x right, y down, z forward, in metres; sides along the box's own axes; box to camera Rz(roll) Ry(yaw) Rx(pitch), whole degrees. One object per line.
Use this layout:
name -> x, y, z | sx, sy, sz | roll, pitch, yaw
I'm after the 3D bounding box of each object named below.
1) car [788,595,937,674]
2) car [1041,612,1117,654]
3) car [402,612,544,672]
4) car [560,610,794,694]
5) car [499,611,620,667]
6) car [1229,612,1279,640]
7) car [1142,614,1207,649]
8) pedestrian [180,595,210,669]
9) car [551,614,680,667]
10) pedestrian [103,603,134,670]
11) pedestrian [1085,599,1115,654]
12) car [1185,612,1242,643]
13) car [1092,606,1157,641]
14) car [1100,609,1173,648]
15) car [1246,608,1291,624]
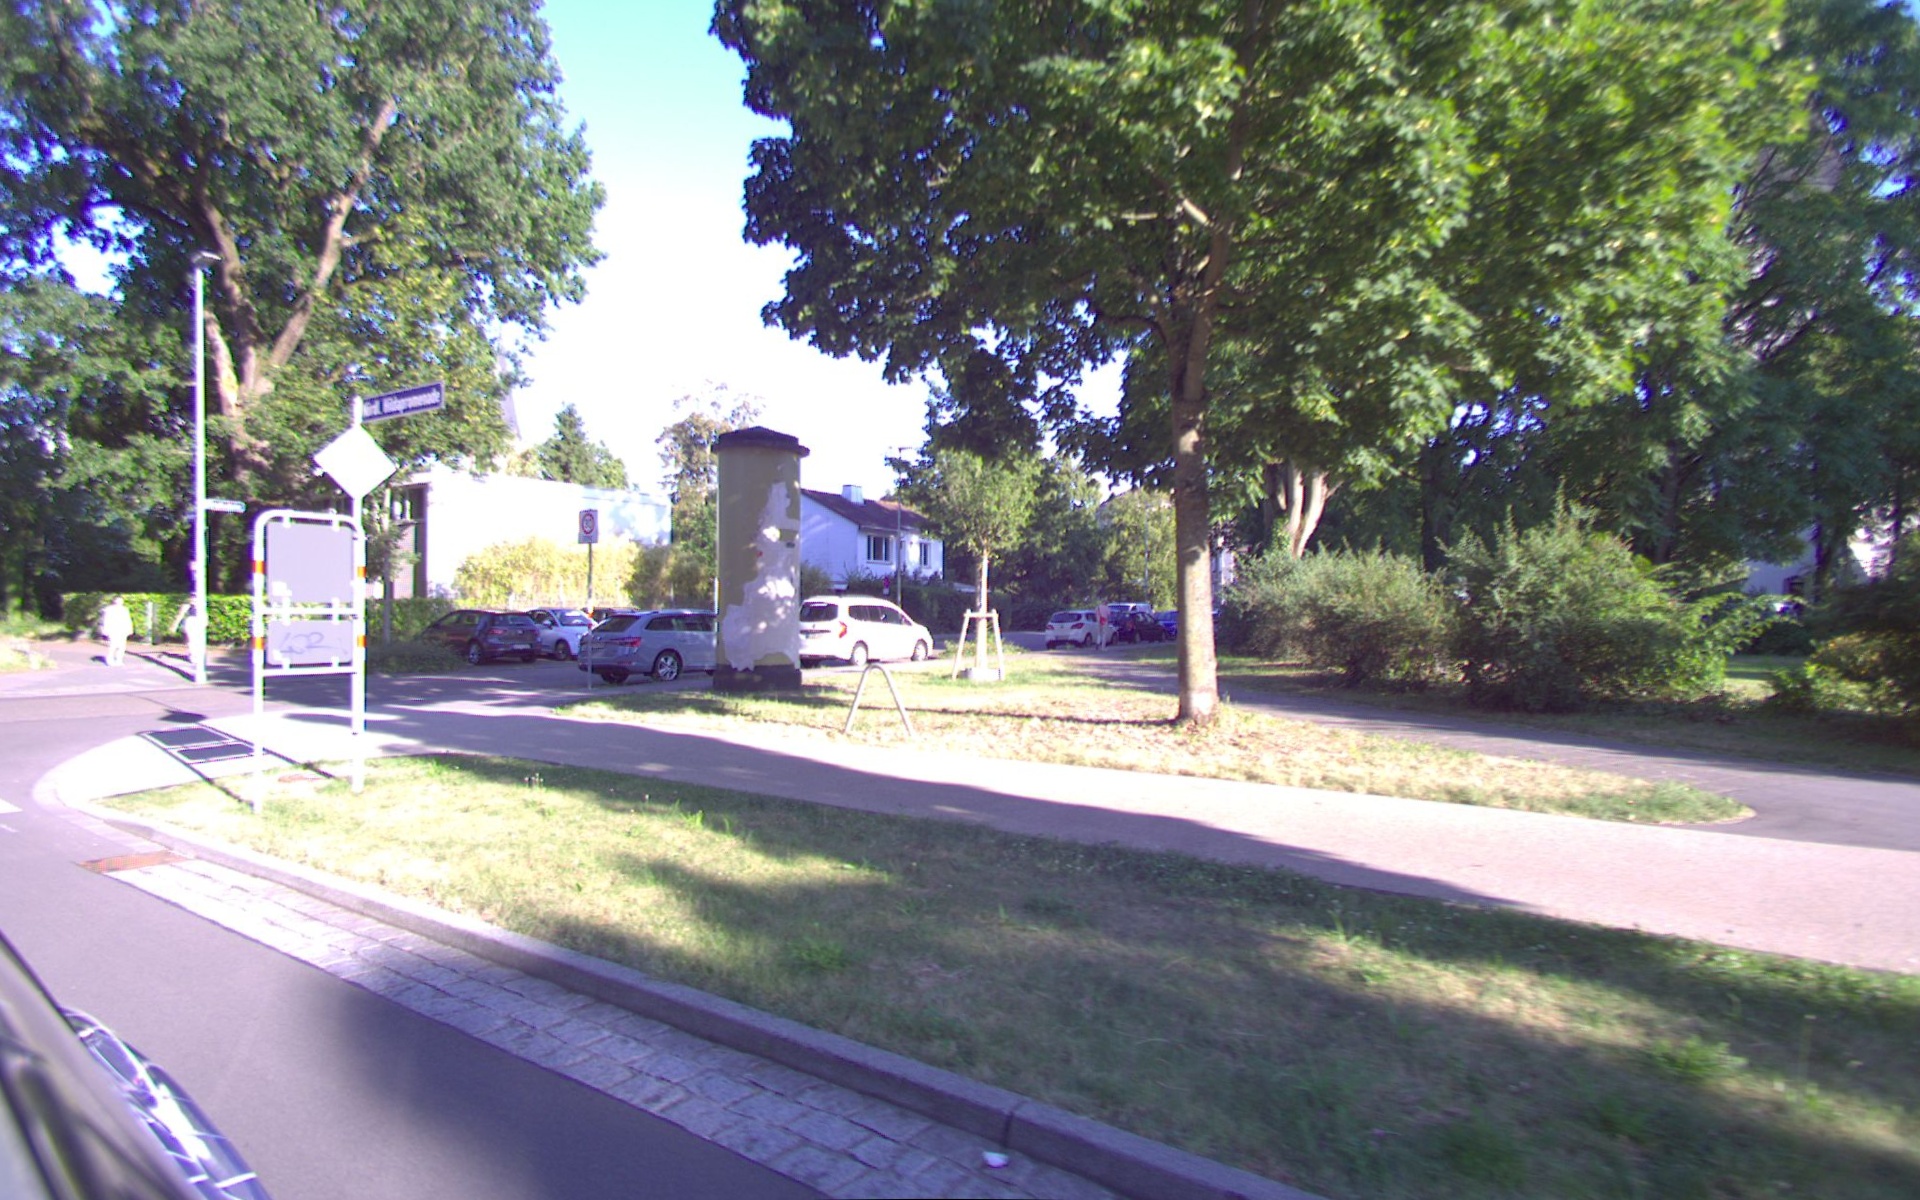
car -> -2.508, 0.885, 26.943 | 1.757, 1.931, 4.191 | -1, -1, 33
car -> 4.587, 1.225, 38.651 | 1.711, 1.520, 3.275 | -1, -1, 31
car -> -13.299, 1.091, 27.603 | 3.987, 1.527, 1.627 | 0, -1, 32
car -> -5.822, 1.010, 21.452 | 1.862, 1.570, 4.784 | -1, -1, 33
car -> -11.722, 1.095, 29.596 | 3.344, 1.502, 1.620 | 1, 0, 31
car -> 16.643, 1.466, 57.275 | 1.713, 1.520, 3.637 | -1, -1, 34
car -> 9.990, 1.438, 46.990 | 1.713, 1.520, 3.637 | -1, -1, 34
pedestrian -> -18.867, 0.778, 24.955 | 0.665, 1.788, 0.430 | -1, -1, 38
car -> -10.887, 1.227, 31.930 | 4.090, 1.468, 1.790 | 1, 0, 35
pedestrian -> -20.067, 0.863, 24.140 | 0.665, 1.593, 0.430 | -1, -1, 38
pedestrian -> 4.566, 0.857, 33.037 | 0.714, 1.750, 0.739 | -1, -1, 33
car -> 13.039, 1.395, 51.846 | 1.713, 1.520, 3.637 | -1, -1, 34
car -> 9.430, 1.329, 57.843 | 2.055, 1.945, 4.397 | -1, -1, 34
car -> 7.533, 1.190, 42.990 | 1.713, 1.520, 3.637 | -1, 0, 33
car -> 31.356, 1.587, 102.858 | 3.994, 1.586, 1.805 | -1, -1, 38
